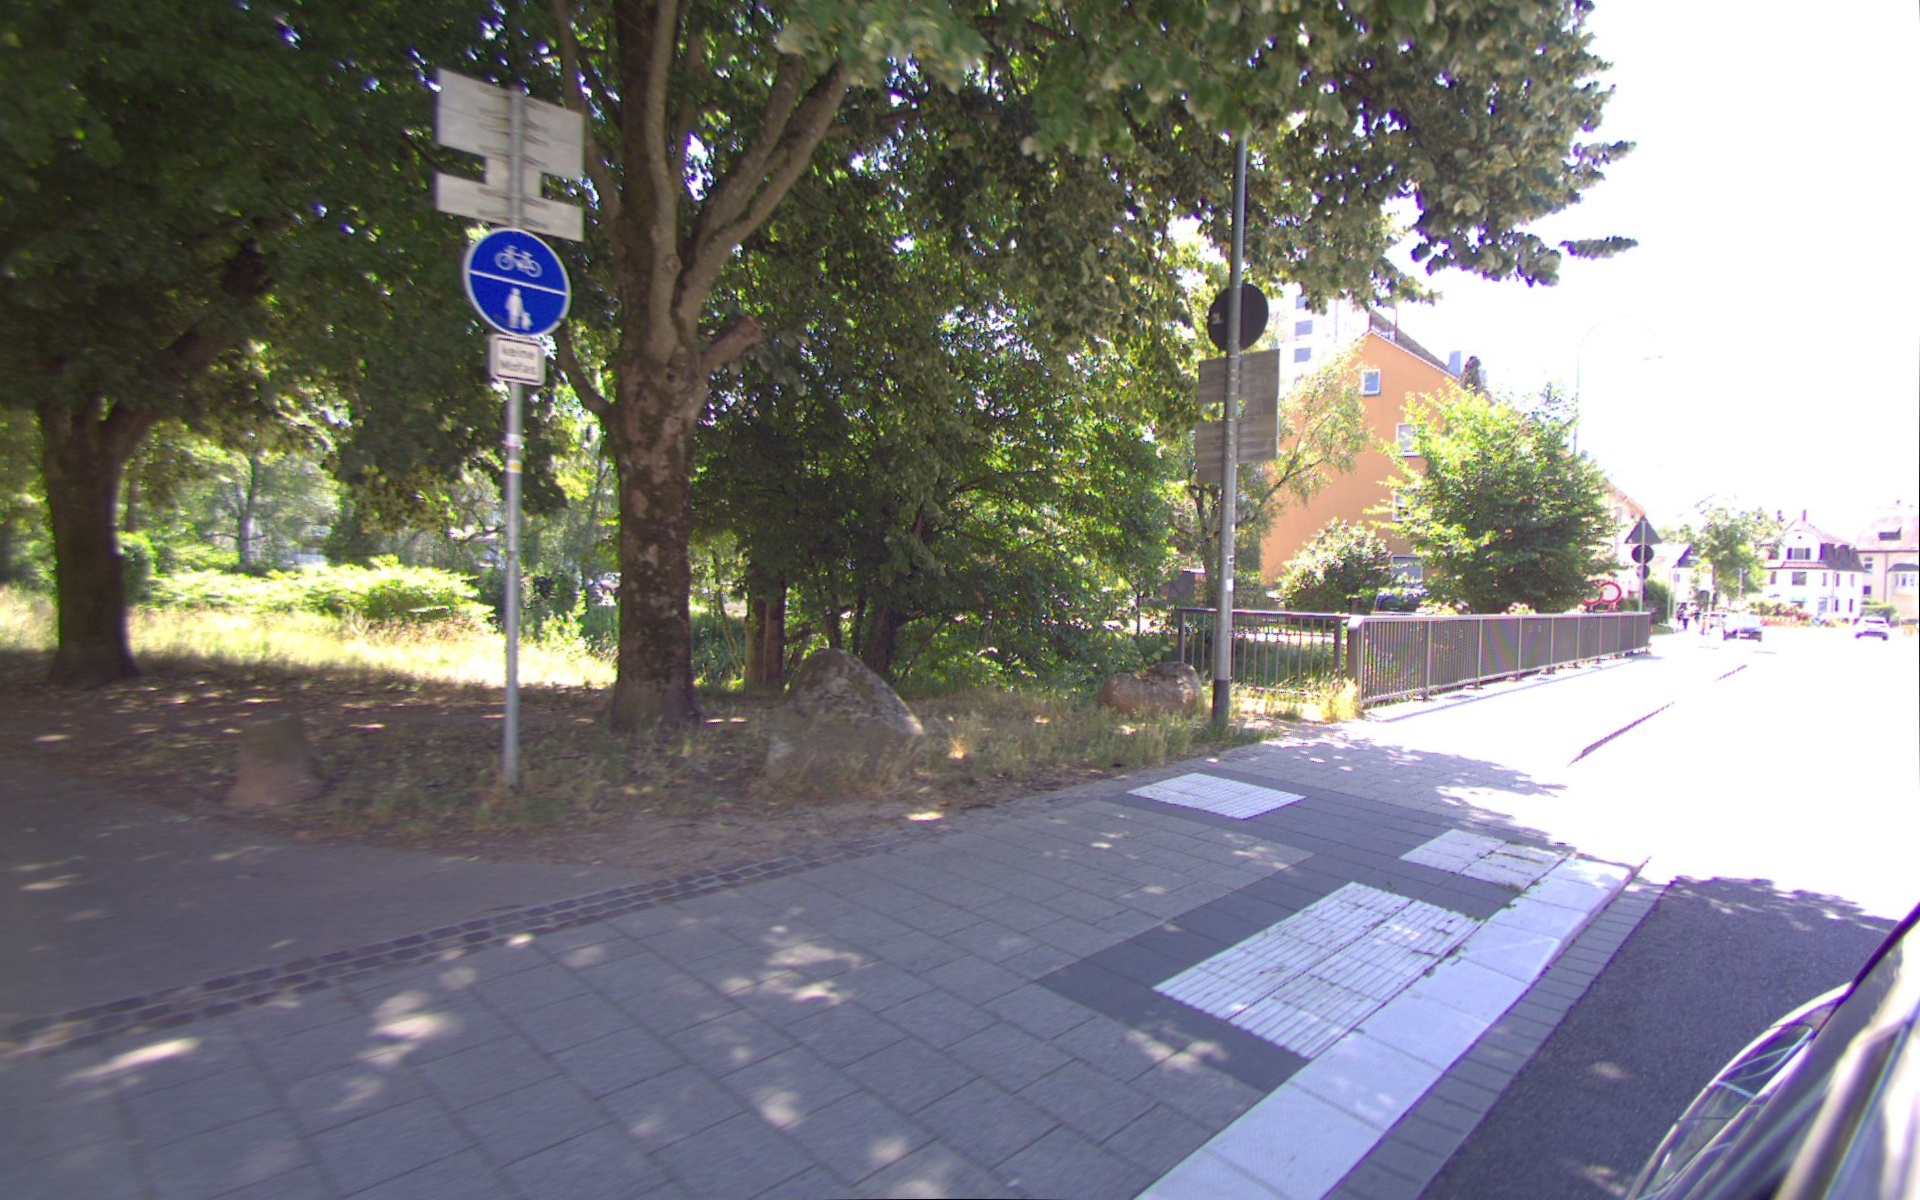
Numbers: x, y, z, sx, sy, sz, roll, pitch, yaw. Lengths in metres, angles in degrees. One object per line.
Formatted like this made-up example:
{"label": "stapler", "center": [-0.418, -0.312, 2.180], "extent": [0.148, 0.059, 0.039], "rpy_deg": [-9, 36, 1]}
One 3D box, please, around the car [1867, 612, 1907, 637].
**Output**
{"label": "car", "center": [67.038, 1.775, 73.240], "extent": [1.876, 1.616, 4.294], "rpy_deg": [4, 2, 41]}

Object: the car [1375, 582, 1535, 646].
{"label": "car", "center": [15.241, 0.384, 31.247], "extent": [4.317, 1.862, 1.731], "rpy_deg": [1, 0, 32]}

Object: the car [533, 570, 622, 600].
{"label": "car", "center": [-19.811, -0.766, 52.362], "extent": [4.477, 1.520, 1.978], "rpy_deg": [1, 0, 32]}

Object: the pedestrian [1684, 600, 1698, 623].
{"label": "pedestrian", "center": [60.920, 0.929, 84.355], "extent": [0.786, 1.833, 0.993], "rpy_deg": [5, 2, 35]}

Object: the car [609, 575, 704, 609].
{"label": "car", "center": [-14.821, -0.394, 49.335], "extent": [4.477, 1.549, 1.978], "rpy_deg": [1, 0, 32]}

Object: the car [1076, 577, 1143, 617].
{"label": "car", "center": [7.292, -0.158, 49.023], "extent": [1.982, 1.805, 3.960], "rpy_deg": [2, 1, 28]}

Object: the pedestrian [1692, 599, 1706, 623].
{"label": "pedestrian", "center": [59.476, 0.921, 81.444], "extent": [0.818, 1.877, 0.972], "rpy_deg": [2, 0, 35]}

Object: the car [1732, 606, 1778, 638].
{"label": "car", "center": [43.761, 1.190, 55.696], "extent": [1.831, 1.522, 4.992], "rpy_deg": [5, 3, 38]}

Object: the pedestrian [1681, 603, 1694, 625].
{"label": "pedestrian", "center": [60.656, 1.179, 84.400], "extent": [0.791, 1.800, 0.996], "rpy_deg": [3, 1, 35]}
